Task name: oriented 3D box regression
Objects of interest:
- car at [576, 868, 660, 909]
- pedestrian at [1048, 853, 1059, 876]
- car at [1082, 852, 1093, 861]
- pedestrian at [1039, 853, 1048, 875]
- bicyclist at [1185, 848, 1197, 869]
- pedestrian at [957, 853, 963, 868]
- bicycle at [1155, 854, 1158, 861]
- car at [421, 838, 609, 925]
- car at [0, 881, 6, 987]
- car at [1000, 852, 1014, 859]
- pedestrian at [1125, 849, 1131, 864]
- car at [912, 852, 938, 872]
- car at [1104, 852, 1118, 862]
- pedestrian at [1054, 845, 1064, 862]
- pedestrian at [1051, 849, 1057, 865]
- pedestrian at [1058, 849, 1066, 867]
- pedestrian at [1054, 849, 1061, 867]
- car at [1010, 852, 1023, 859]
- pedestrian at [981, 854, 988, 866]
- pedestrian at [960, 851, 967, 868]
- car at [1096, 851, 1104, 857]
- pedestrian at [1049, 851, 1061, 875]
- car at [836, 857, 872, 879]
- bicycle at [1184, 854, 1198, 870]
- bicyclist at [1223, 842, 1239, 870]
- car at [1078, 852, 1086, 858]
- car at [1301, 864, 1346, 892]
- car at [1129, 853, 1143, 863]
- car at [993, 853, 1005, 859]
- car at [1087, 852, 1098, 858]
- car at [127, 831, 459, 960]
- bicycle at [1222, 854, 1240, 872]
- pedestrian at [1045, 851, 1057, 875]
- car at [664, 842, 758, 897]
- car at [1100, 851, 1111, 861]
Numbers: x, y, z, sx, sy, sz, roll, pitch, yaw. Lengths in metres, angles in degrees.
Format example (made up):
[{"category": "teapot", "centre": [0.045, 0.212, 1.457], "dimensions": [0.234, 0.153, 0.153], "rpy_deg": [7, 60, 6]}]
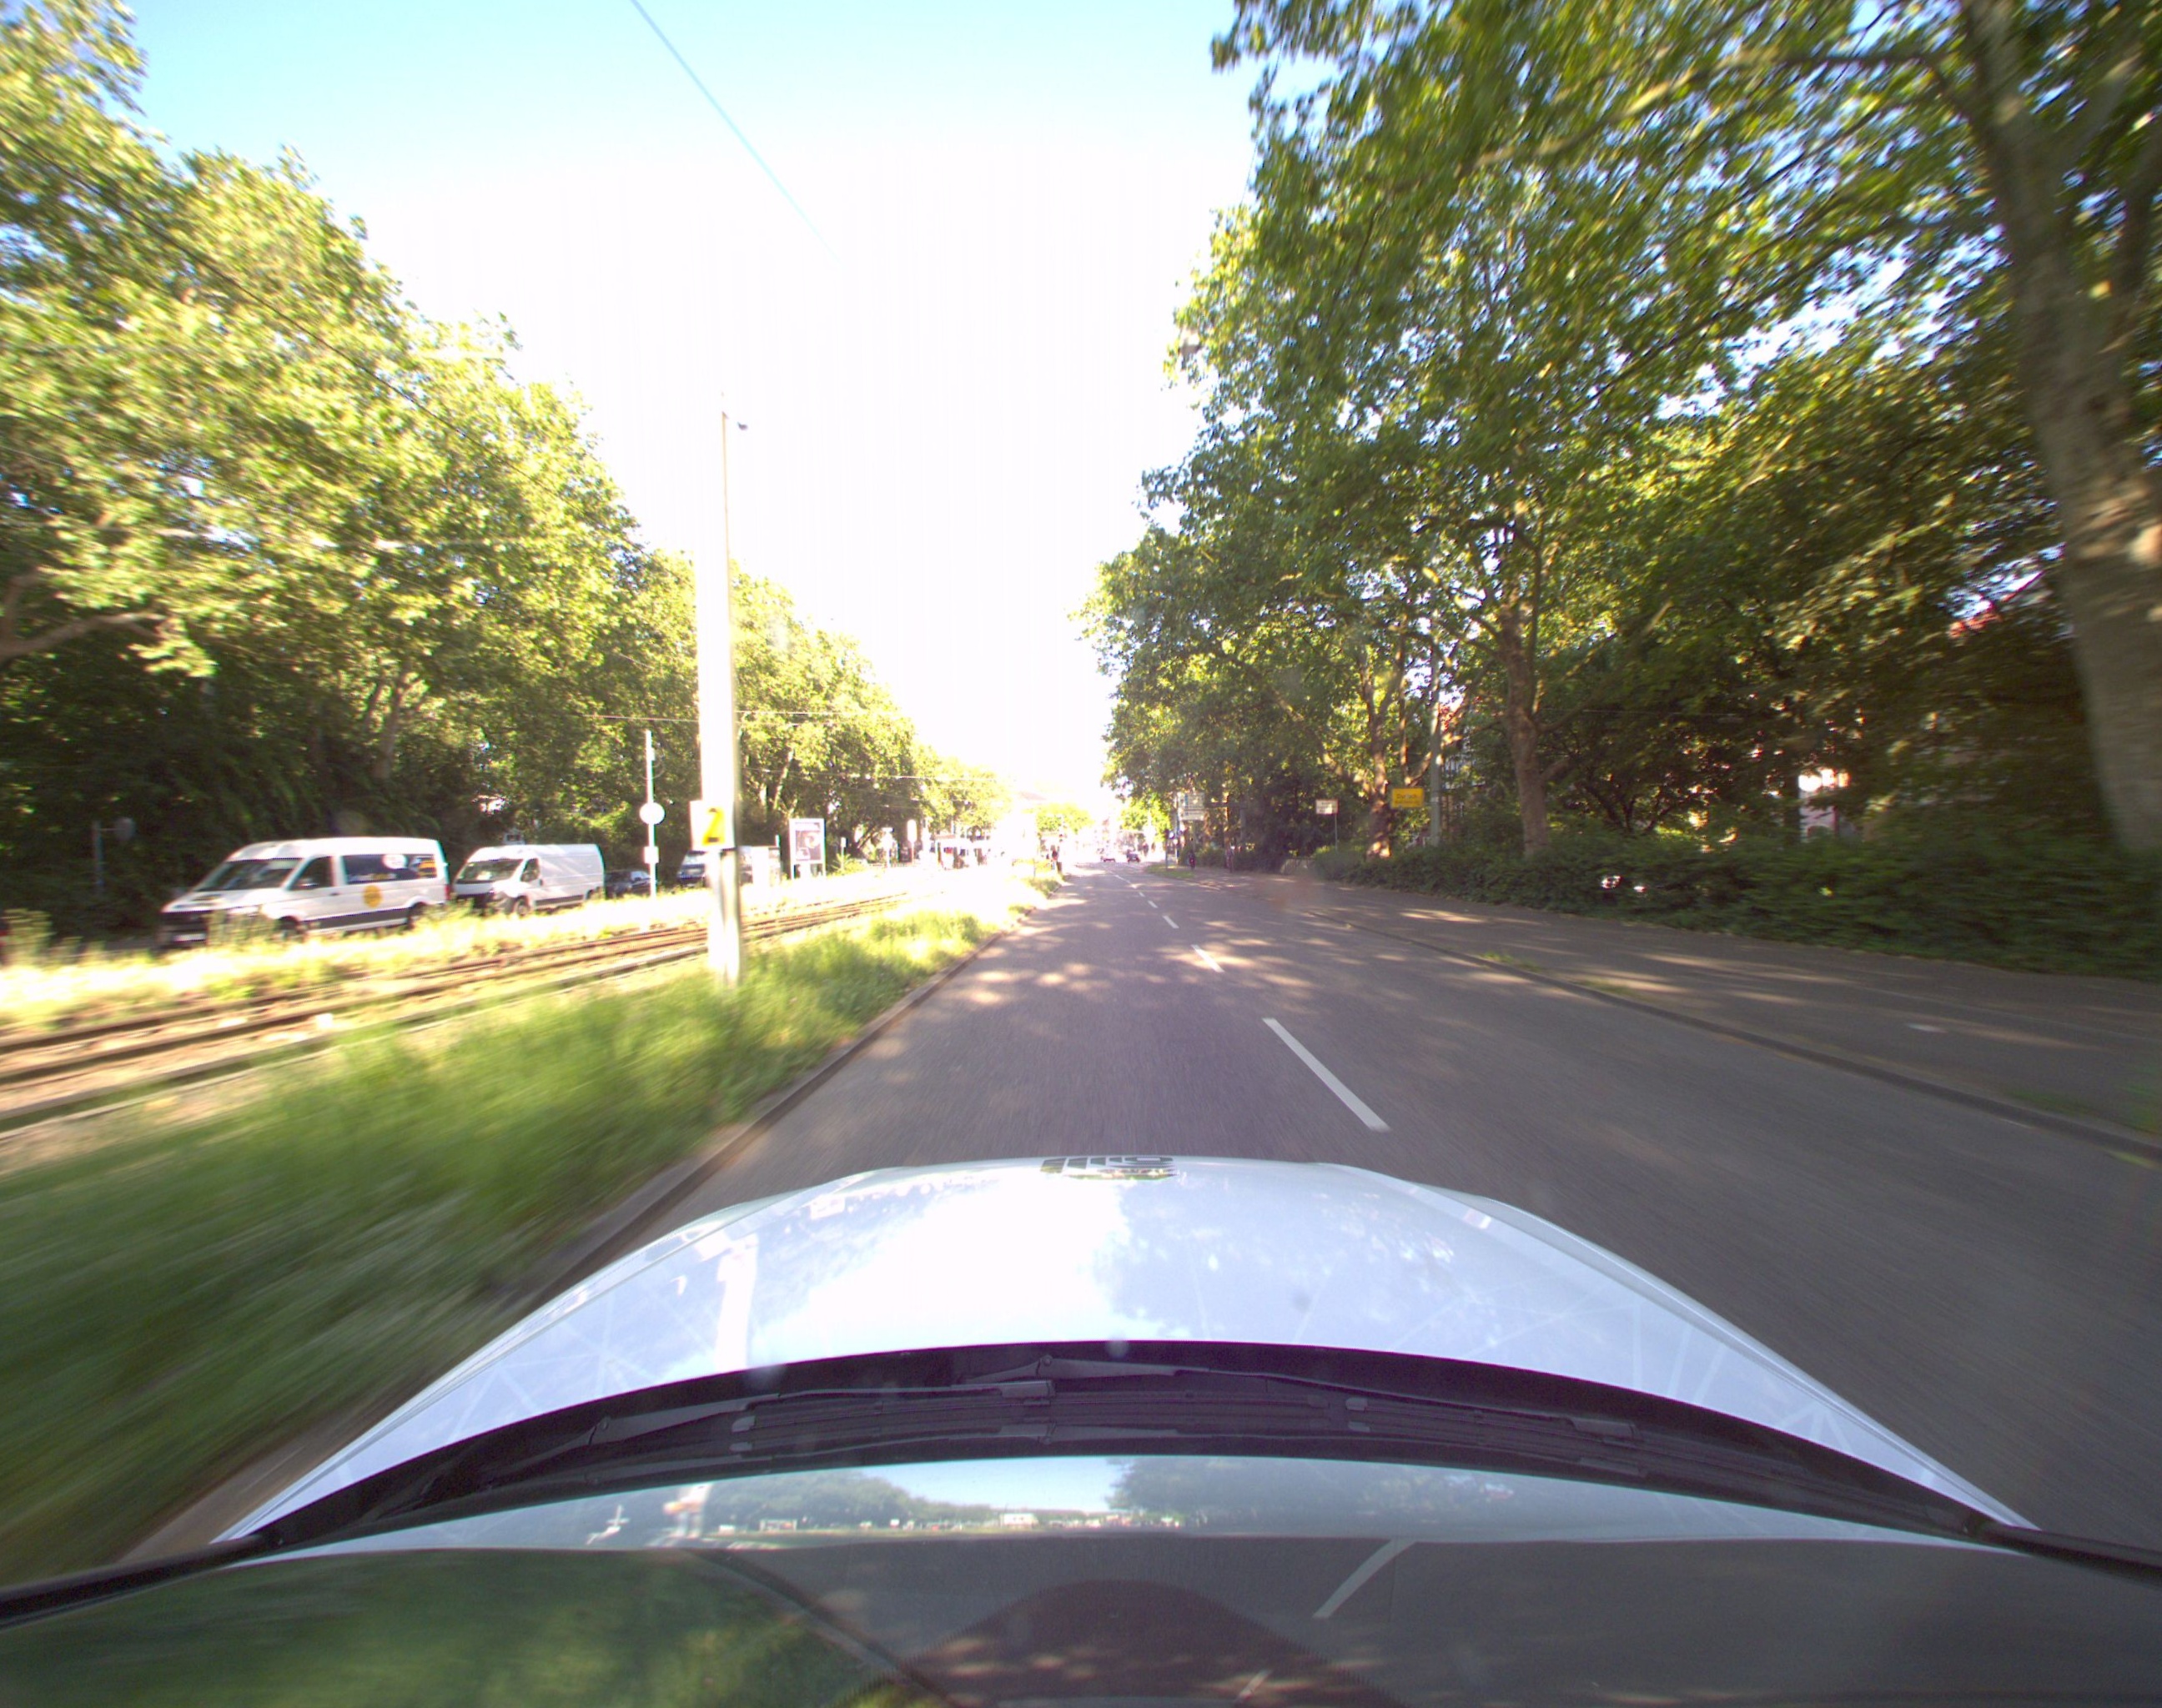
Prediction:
[{"category": "car", "centre": [-19.028, 1.372, 33.601], "dimensions": [1.648, 1.512, 3.262], "rpy_deg": [-3, 0, -3]}, {"category": "pedestrian", "centre": [-1.859, 0.691, 55.321], "dimensions": [0.587, 1.519, 0.514], "rpy_deg": [-3, 0, 0]}, {"category": "car", "centre": [1.058, 0.443, 137.928], "dimensions": [1.803, 1.452, 3.999], "rpy_deg": [-1, 0, -1]}, {"category": "pedestrian", "centre": [-2.582, 0.703, 55.944], "dimensions": [0.518, 1.472, 0.514], "rpy_deg": [-3, 0, 1]}, {"category": "bicyclist", "centre": [8.066, 0.339, 59.777], "dimensions": [0.764, 1.513, 0.650], "rpy_deg": [-1, 0, -1]}, {"category": "pedestrian", "centre": [-12.592, 0.659, 84.642], "dimensions": [0.591, 1.544, 0.627], "rpy_deg": [0, -1, 0]}, {"category": "bicycle", "centre": [12.930, 0.583, 139.431], "dimensions": [0.497, 1.075, 1.800], "rpy_deg": [0, -1, 0]}, {"category": "car", "centre": [-18.873, 0.850, 27.693], "dimensions": [2.179, 2.520, 6.264], "rpy_deg": [-3, 0, -3]}, {"category": "car", "centre": [-18.433, 1.326, 11.348], "dimensions": [1.734, 1.728, 3.879], "rpy_deg": [-3, 0, -2]}, {"category": "car", "centre": [-19.585, 0.436, 216.515], "dimensions": [1.777, 1.649, 4.035], "rpy_deg": [-1, 0, 29]}, {"category": "pedestrian", "centre": [5.983, 0.348, 103.654], "dimensions": [0.655, 1.871, 0.677], "rpy_deg": [-1, 0, -1]}, {"category": "car", "centre": [-18.159, 0.950, 94.947], "dimensions": [2.061, 2.124, 5.086], "rpy_deg": [-3, 0, -2]}, {"category": "car", "centre": [4.743, 0.415, 128.896], "dimensions": [1.923, 1.472, 4.854], "rpy_deg": [-1, 0, 0]}, {"category": "pedestrian", "centre": [-2.248, -0.025, 83.335], "dimensions": [0.656, 1.722, 0.702], "rpy_deg": [0, 0, -36]}, {"category": "pedestrian", "centre": [-2.589, 0.297, 78.333], "dimensions": [0.586, 1.567, 0.650], "rpy_deg": [0, 0, 0]}, {"category": "pedestrian", "centre": [-1.842, 0.370, 78.503], "dimensions": [0.740, 1.694, 0.791], "rpy_deg": [0, 0, 0]}, {"category": "pedestrian", "centre": [-2.481, 0.441, 85.688], "dimensions": [0.647, 1.841, 0.712], "rpy_deg": [0, 0, 10]}, {"category": "car", "centre": [-17.138, 0.376, 215.830], "dimensions": [1.905, 1.649, 4.202], "rpy_deg": [-1, 0, 20]}, {"category": "pedestrian", "centre": [-12.024, 0.743, 101.223], "dimensions": [0.668, 1.324, 0.756], "rpy_deg": [-4, 0, -2]}, {"category": "pedestrian", "centre": [-12.329, 0.551, 85.352], "dimensions": [0.645, 1.772, 0.650], "rpy_deg": [0, -1, 2]}, {"category": "car", "centre": [5.669, -0.089, 246.384], "dimensions": [1.783, 1.826, 4.012], "rpy_deg": [-1, 0, 10]}, {"category": "pedestrian", "centre": [-1.728, 0.608, 54.620], "dimensions": [0.515, 1.568, 0.511], "rpy_deg": [-4, -1, 30]}, {"category": "car", "centre": [-18.396, 1.134, 66.042], "dimensions": [1.898, 1.652, 3.968], "rpy_deg": [-3, 0, -3]}, {"category": "bicycle", "centre": [8.071, 0.572, 59.856], "dimensions": [0.764, 1.107, 1.800], "rpy_deg": [-1, 0, 0]}, {"category": "bicyclist", "centre": [9.371, 0.107, 50.932], "dimensions": [0.697, 1.728, 1.079], "rpy_deg": [-1, 0, -1]}, {"category": "car", "centre": [0.212, 0.307, 230.841], "dimensions": [1.785, 1.510, 4.008], "rpy_deg": [-1, 0, 7]}, {"category": "car", "centre": [16.650, 1.598, 56.040], "dimensions": [1.897, 1.812, 4.099], "rpy_deg": [0, 0, 0]}, {"category": "car", "centre": [8.316, 0.615, 123.971], "dimensions": [1.794, 1.439, 4.044], "rpy_deg": [0, 0, 0]}, {"category": "car", "centre": [-21.940, 0.526, 218.509], "dimensions": [1.779, 1.510, 4.029], "rpy_deg": [-1, 0, 19]}, {"category": "car", "centre": [3.392, 0.321, 238.928], "dimensions": [1.779, 1.510, 4.019], "rpy_deg": [-2, 0, 19]}, {"category": "car", "centre": [-18.446, 0.873, 19.705], "dimensions": [2.178, 2.520, 6.045], "rpy_deg": [-3, 0, -2]}, {"category": "bicycle", "centre": [9.379, 0.533, 50.925], "dimensions": [0.697, 1.107, 1.929], "rpy_deg": [-1, 0, -1]}, {"category": "pedestrian", "centre": [-2.010, 0.605, 54.211], "dimensions": [0.515, 1.568, 0.511], "rpy_deg": [-4, -1, 30]}, {"category": "car", "centre": [-19.123, 0.776, 42.451], "dimensions": [2.177, 2.520, 6.028], "rpy_deg": [-3, 0, -2]}, {"category": "car", "centre": [4.085, 0.316, 136.265], "dimensions": [1.795, 1.638, 4.044], "rpy_deg": [-1, 0, -1]}]
